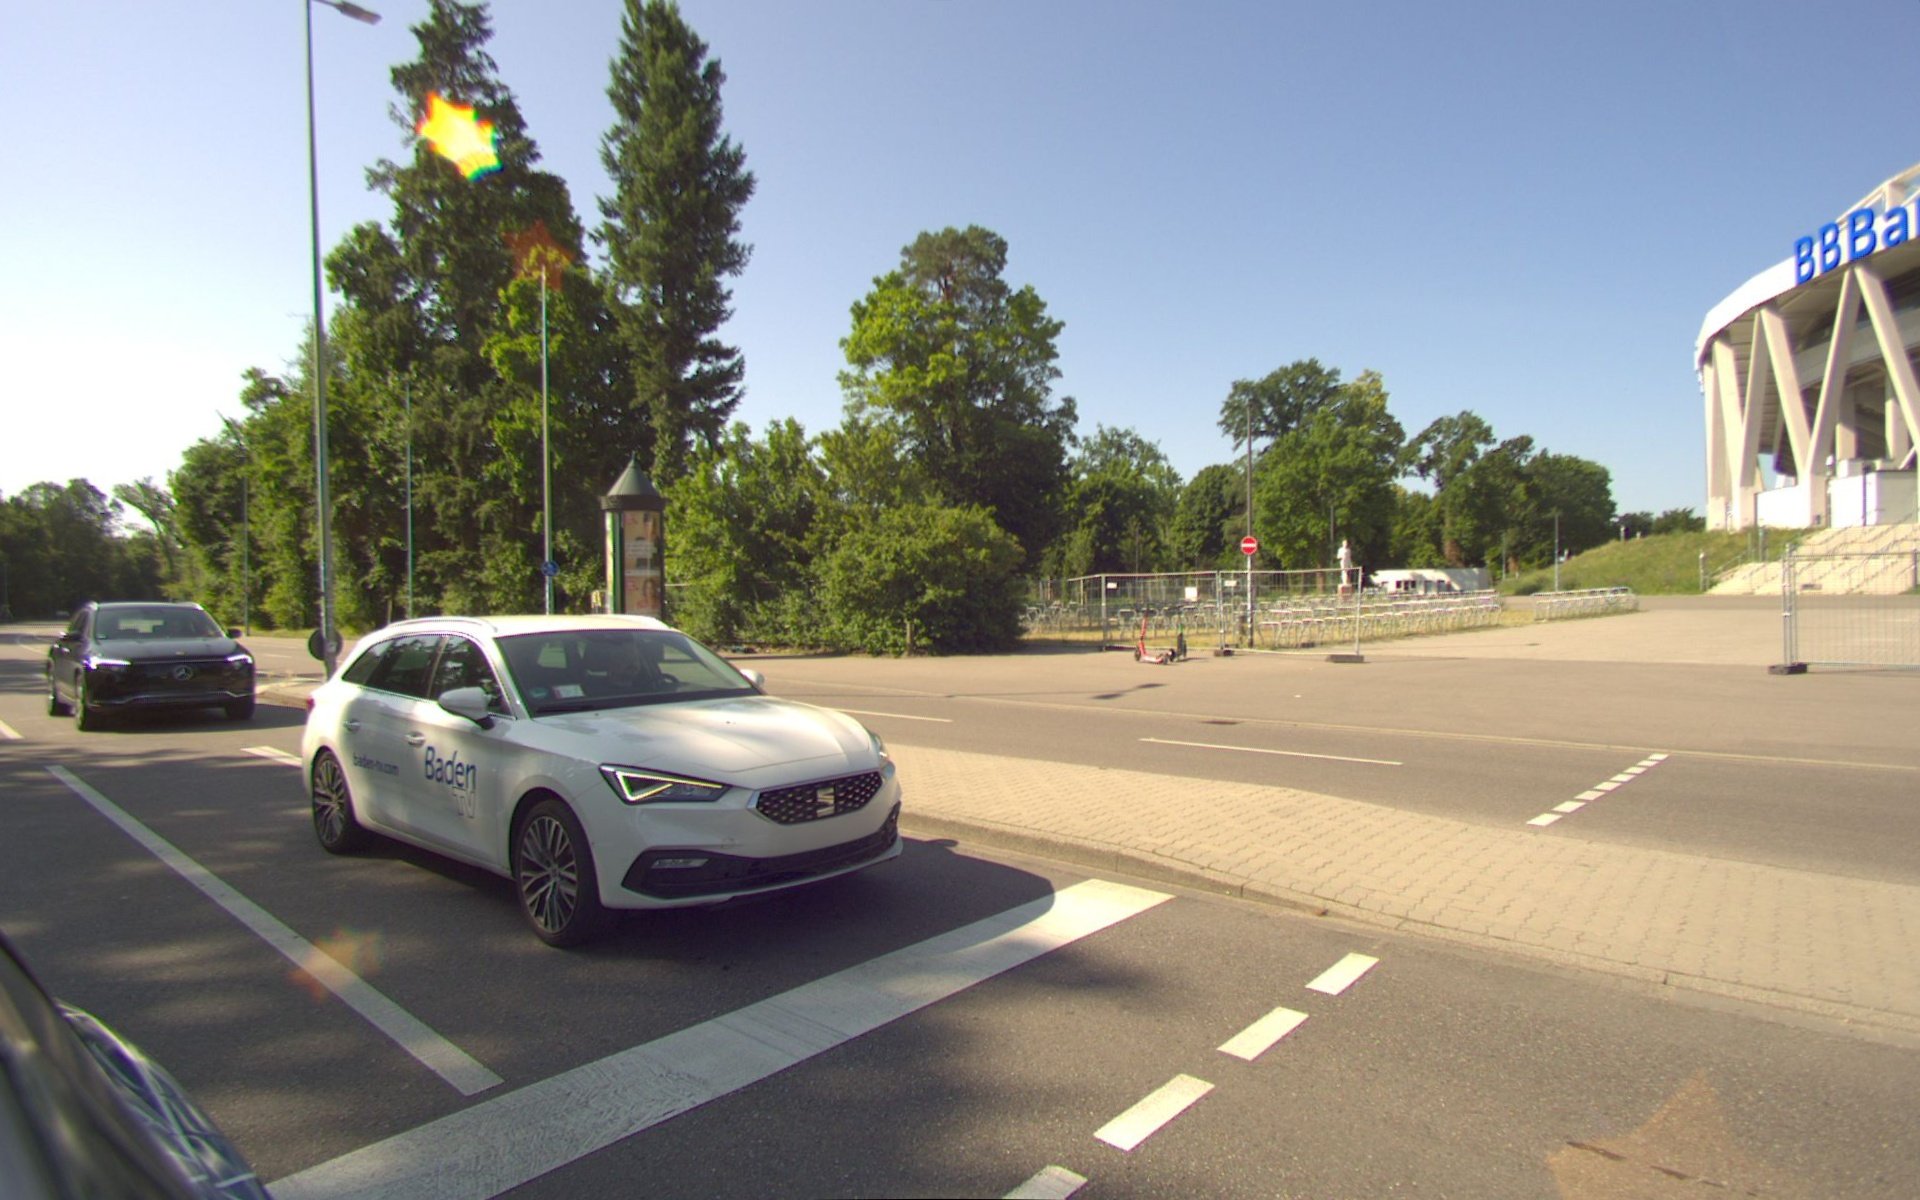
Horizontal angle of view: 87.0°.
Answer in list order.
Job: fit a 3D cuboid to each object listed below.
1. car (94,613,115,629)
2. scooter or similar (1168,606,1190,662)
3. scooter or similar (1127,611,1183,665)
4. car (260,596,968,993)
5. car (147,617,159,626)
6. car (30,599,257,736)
[{"bbox_3d":[-102.594,2.537,121.386,1.849,1.874,4.005,-1,0,-42],"label":"car"},{"bbox_3d":[4.950,0.758,22.858,0.393,1.231,1.075,-1,0,17],"label":"scooter or similar"},{"bbox_3d":[4.289,0.824,22.342,0.390,1.154,1.197,-1,0,-43],"label":"scooter or similar"},{"bbox_3d":[-2.305,0.742,5.856,4.716,1.437,1.708,-1,-1,40],"label":"car"},{"bbox_3d":[-151.948,4.098,190.530,1.828,1.630,4.007,-1,0,-39],"label":"car"},{"bbox_3d":[-11.348,0.800,13.967,4.272,1.608,1.785,0,0,42],"label":"car"}]
